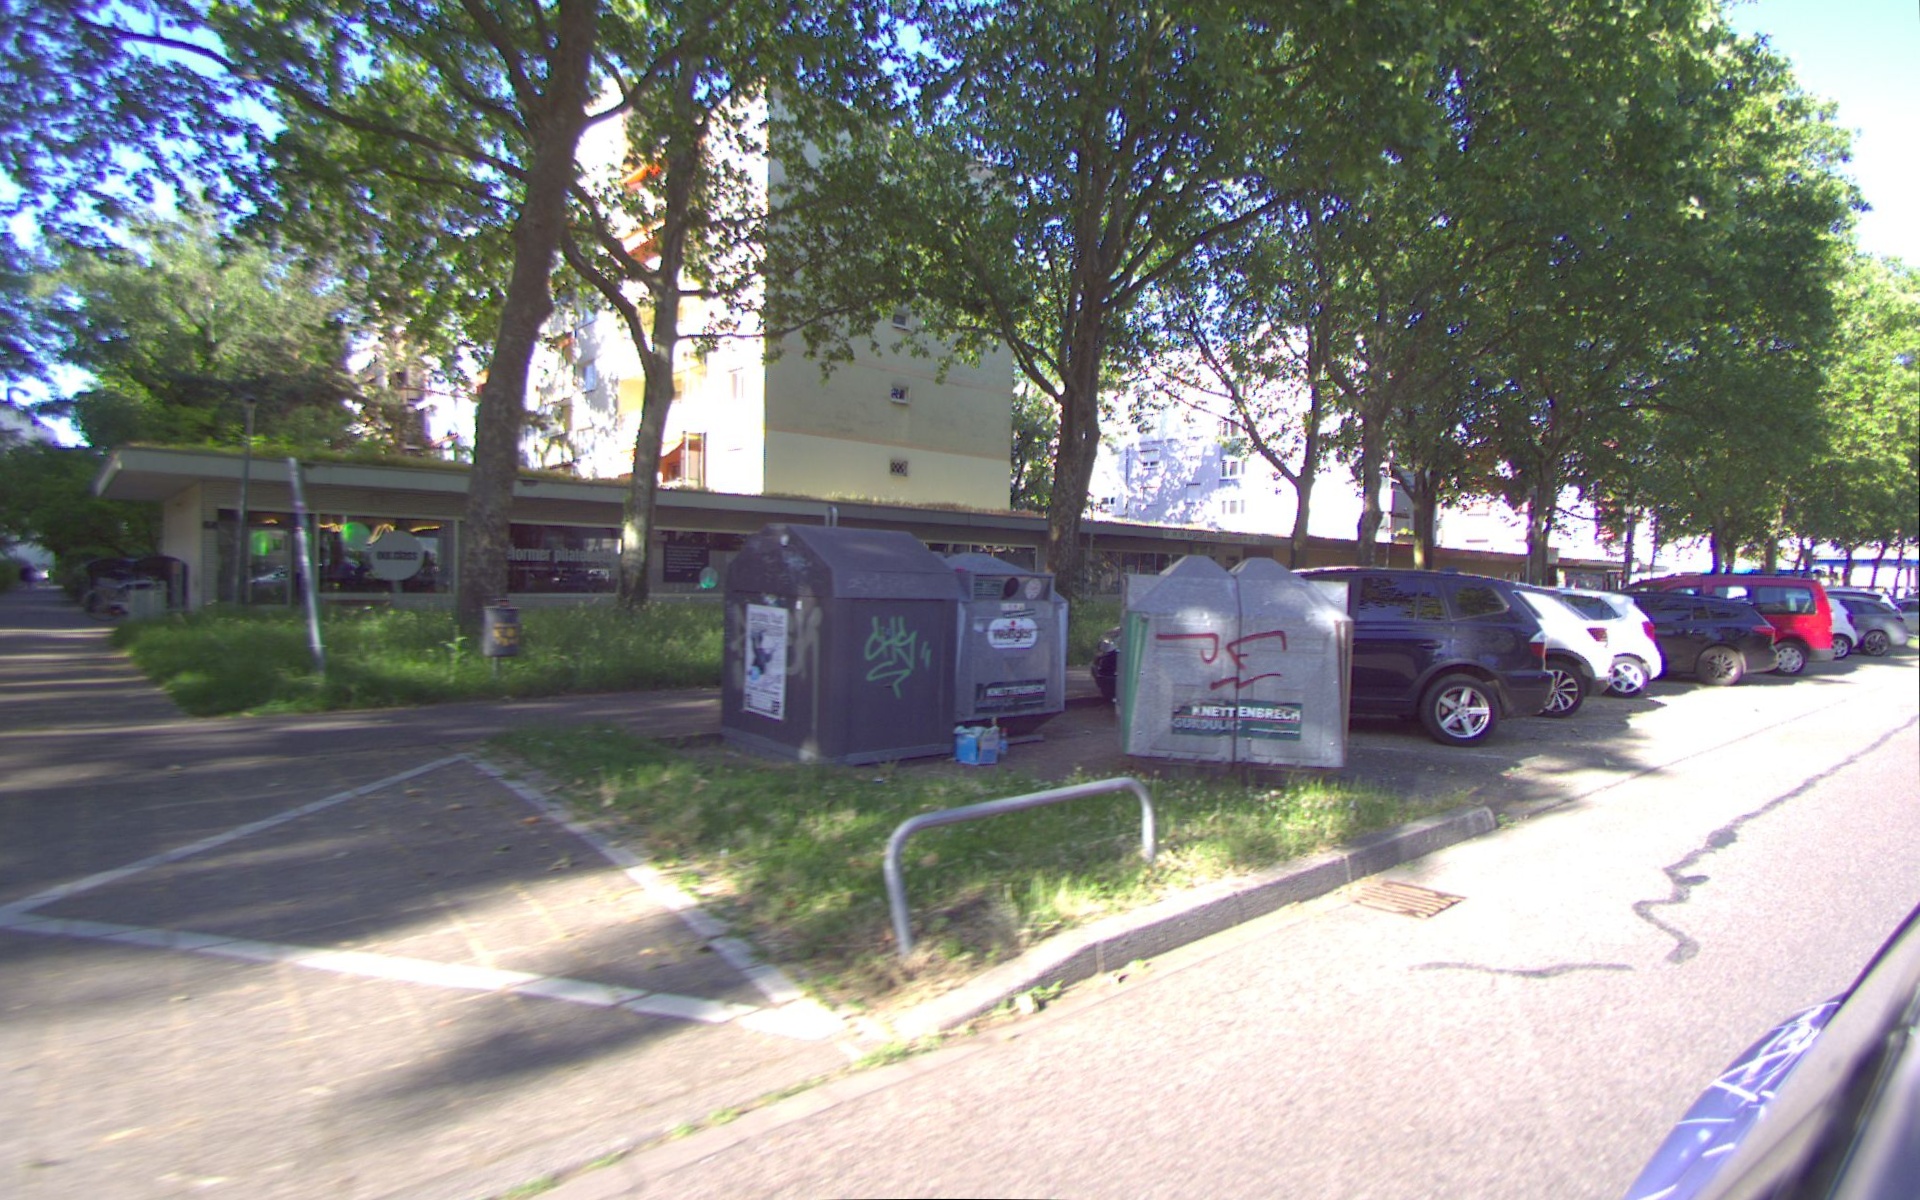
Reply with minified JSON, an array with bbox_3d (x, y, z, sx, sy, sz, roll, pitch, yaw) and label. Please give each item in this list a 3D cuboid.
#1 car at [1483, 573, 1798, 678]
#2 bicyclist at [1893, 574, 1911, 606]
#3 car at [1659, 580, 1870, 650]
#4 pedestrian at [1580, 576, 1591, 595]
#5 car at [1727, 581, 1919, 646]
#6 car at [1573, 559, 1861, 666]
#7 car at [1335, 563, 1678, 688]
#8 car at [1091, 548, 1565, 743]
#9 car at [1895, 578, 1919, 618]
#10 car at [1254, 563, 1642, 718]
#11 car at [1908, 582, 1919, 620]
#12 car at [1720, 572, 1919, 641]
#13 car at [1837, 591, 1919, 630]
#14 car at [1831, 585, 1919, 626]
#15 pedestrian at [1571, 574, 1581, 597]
[{"bbox_3d":[11.300,0.370,17.108,4.025,1.499,1.645,2,2,14],"label":"car"},{"bbox_3d":[53.707,-0.565,57.716,1.005,1.762,0.624,0,1,-40],"label":"bicyclist"},{"bbox_3d":[19.074,0.325,24.121,3.562,1.466,1.650,2,2,4],"label":"car"},{"bbox_3d":[48.692,-1.121,78.741,0.531,1.448,0.704,2,1,44],"label":"pedestrian"},{"bbox_3d":[22.338,0.322,26.070,3.722,1.488,1.649,2,2,7],"label":"car"},{"bbox_3d":[14.369,0.184,19.439,4.020,1.833,1.647,2,2,10],"label":"car"},{"bbox_3d":[7.899,0.304,15.002,4.016,1.601,1.778,2,2,8],"label":"car"},{"bbox_3d":[3.543,0.371,10.415,4.253,1.738,1.631,1,1,11],"label":"car"},{"bbox_3d":[48.907,-0.028,49.262,4.596,1.875,1.826,2,2,10],"label":"car"},{"bbox_3d":[5.805,0.399,12.619,4.027,1.601,1.773,2,2,16],"label":"car"},{"bbox_3d":[46.417,0.125,46.098,4.429,1.726,1.757,2,2,9],"label":"car"},{"bbox_3d":[24.280,0.150,28.651,3.962,1.726,1.757,2,2,9],"label":"car"},{"bbox_3d":[37.911,0.445,40.349,4.113,1.429,1.718,2,2,7],"label":"car"},{"bbox_3d":[35.301,0.221,37.808,3.871,1.389,1.585,2,2,7],"label":"car"},{"bbox_3d":[48.078,-1.119,79.035,0.495,1.721,0.704,2,0,44],"label":"pedestrian"}]
